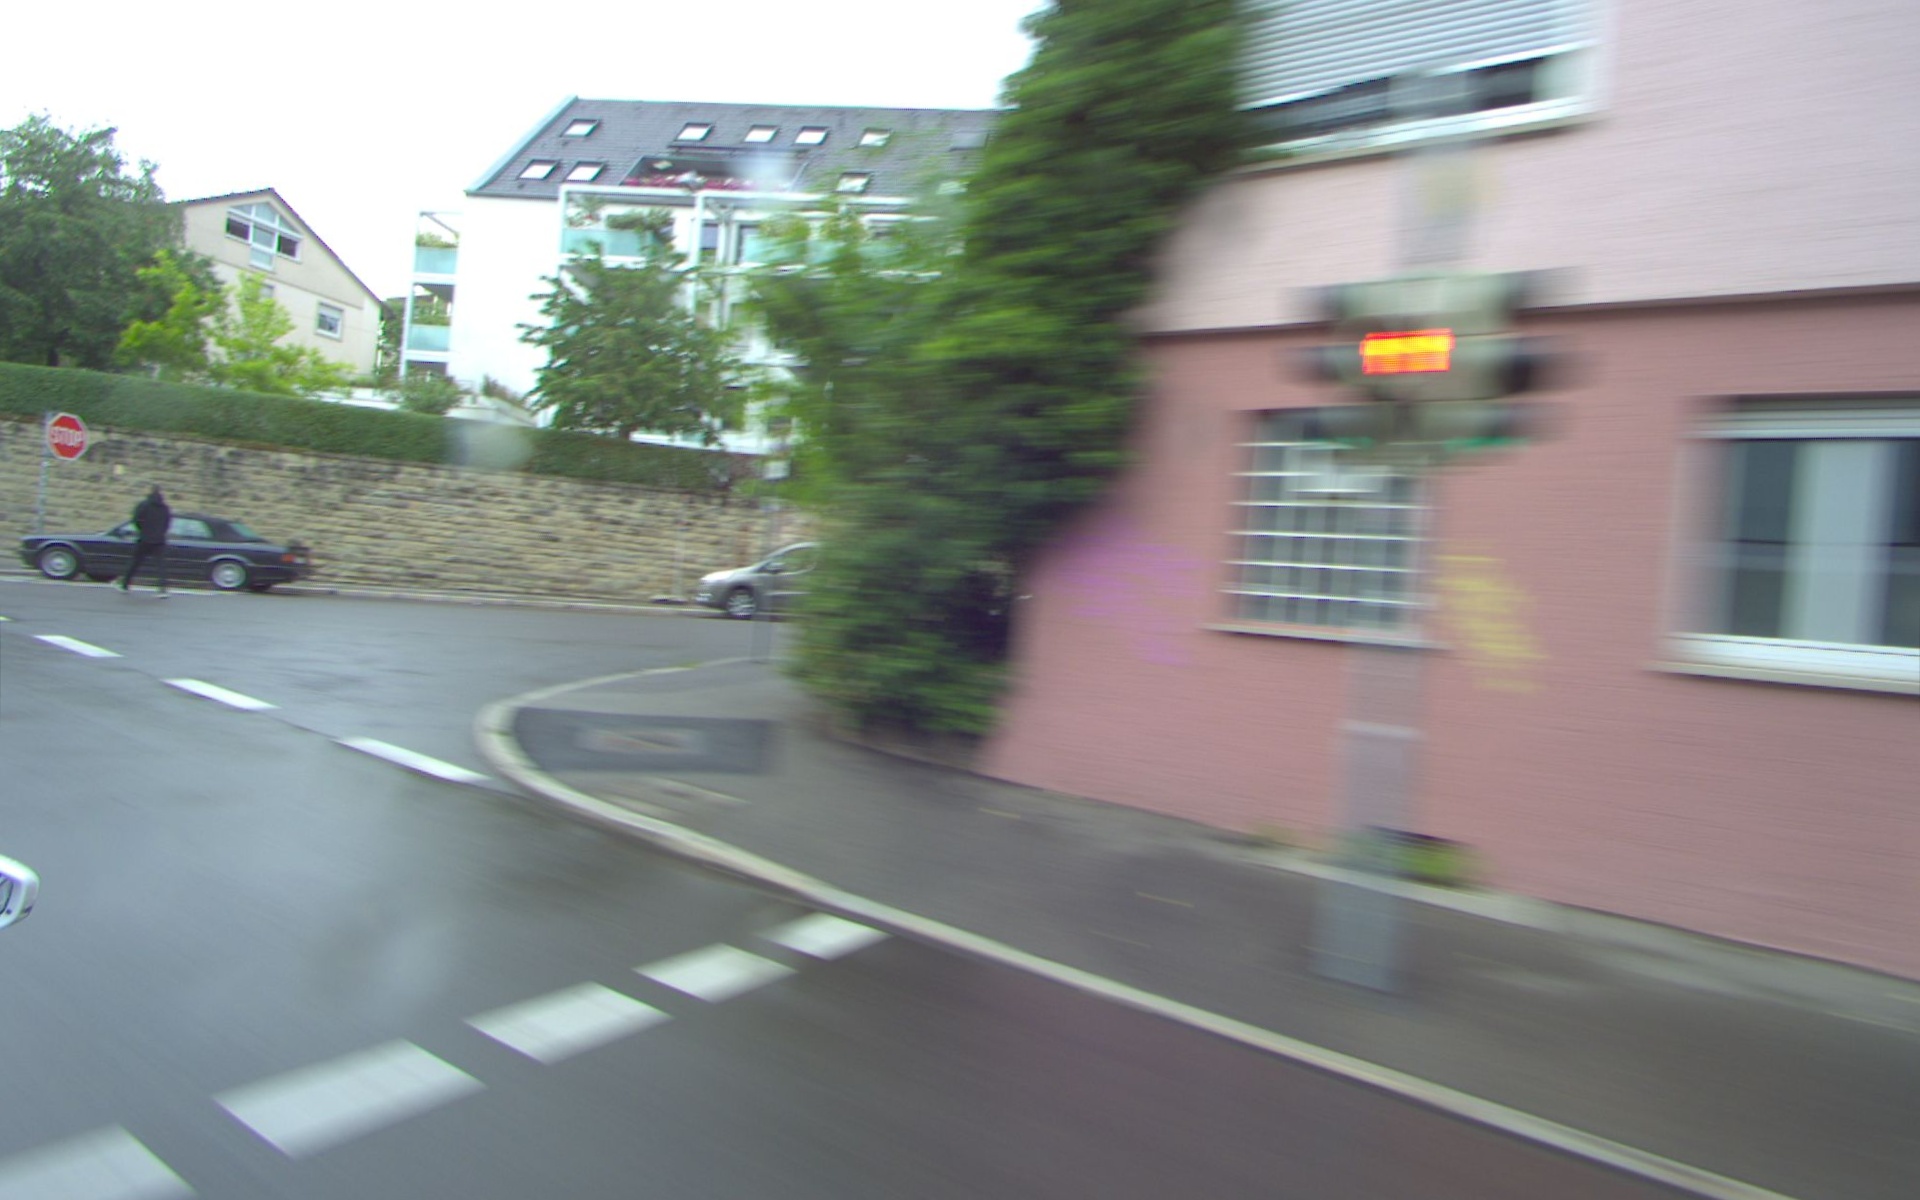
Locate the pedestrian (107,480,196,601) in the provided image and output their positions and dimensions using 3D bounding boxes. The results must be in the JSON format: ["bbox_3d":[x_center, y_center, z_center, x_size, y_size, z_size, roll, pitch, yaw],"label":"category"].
[{"bbox_3d":[-12.389,-0.907,15.416,0.890,1.738,0.723,7,2,32],"label":"pedestrian"}]

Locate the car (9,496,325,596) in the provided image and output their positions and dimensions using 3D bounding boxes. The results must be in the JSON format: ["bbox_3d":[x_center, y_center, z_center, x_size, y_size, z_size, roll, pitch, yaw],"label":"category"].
[{"bbox_3d":[-14.580,-0.947,18.787,4.211,1.410,1.746,4,0,-18],"label":"car"}]

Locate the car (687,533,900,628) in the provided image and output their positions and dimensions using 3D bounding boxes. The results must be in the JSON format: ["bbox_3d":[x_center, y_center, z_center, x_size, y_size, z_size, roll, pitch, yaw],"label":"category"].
[{"bbox_3d":[-3.675,-0.398,21.994,4.344,1.763,1.820,3,1,-17],"label":"car"}]
